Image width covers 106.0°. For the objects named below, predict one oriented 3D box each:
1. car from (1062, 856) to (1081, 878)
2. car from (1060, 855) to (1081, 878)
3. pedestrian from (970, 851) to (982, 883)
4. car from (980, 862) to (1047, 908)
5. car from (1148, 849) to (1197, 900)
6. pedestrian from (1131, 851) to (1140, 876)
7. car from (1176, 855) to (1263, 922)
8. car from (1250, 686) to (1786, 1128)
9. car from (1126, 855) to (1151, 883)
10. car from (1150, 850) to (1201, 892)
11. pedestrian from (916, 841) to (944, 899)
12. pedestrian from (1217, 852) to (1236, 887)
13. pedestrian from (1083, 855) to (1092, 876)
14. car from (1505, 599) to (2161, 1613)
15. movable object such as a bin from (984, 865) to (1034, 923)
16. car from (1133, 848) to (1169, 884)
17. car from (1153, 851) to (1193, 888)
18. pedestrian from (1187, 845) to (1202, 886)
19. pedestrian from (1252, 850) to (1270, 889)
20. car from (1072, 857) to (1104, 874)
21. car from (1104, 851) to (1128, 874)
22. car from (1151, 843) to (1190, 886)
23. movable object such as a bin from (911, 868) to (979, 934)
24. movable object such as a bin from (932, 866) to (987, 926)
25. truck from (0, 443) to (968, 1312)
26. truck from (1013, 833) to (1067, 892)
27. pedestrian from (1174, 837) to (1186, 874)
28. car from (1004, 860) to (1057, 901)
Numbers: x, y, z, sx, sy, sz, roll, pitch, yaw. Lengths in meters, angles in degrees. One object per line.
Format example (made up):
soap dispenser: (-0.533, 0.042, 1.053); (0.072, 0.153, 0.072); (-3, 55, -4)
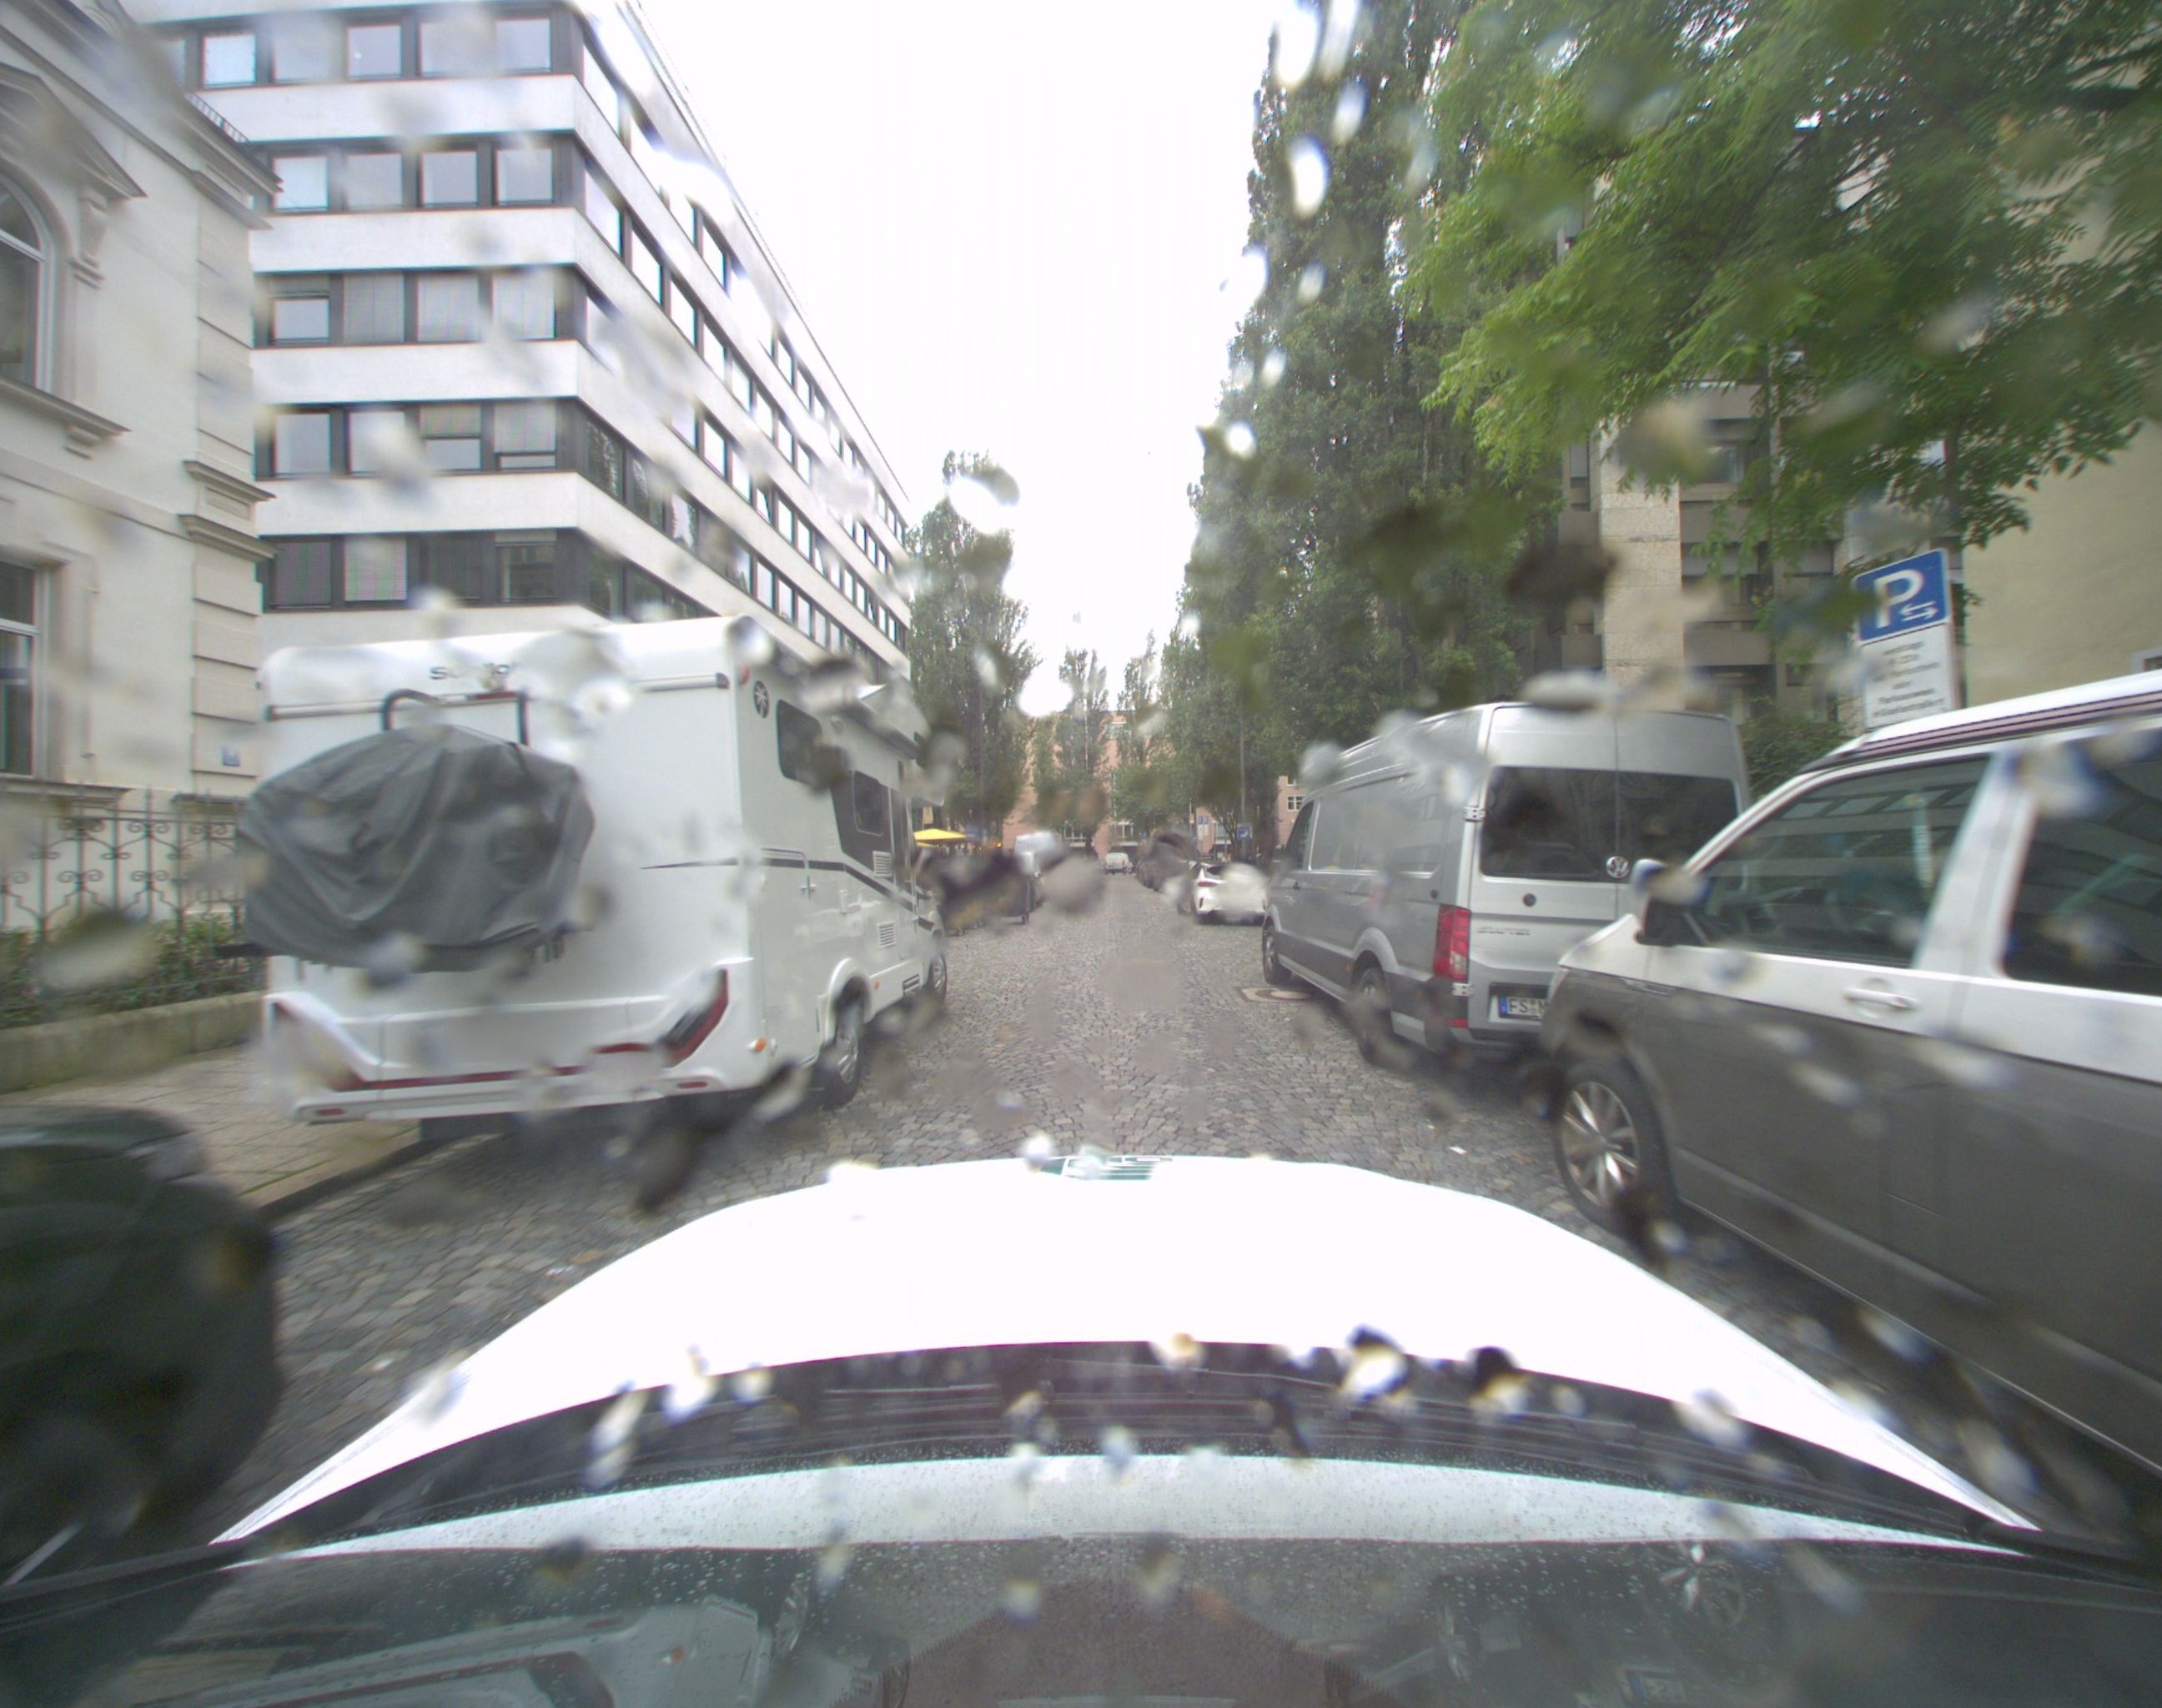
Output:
car: (-0.659, 0.944, 60.091); (1.272, 1.541, 3.120); (-1, -1, 2)
car: (-0.700, 0.853, 55.786); (1.285, 1.540, 3.120); (-1, -1, 2)
pedestrian: (-6.281, 0.759, 48.751); (0.600, 1.878, 0.548); (-1, -1, 1)
car: (-2.027, 0.917, 25.241); (1.656, 1.329, 3.549); (-1, -1, 2)
car: (3.197, 0.700, 28.899); (1.465, 1.706, 3.120); (-1, -1, 2)
pedestrian: (4.319, 0.747, 64.304); (0.722, 1.910, 0.641); (-1, -1, 3)
car: (3.311, 0.795, 20.051); (1.594, 1.486, 3.479); (-1, -1, 1)
car: (3.060, 0.290, 7.427); (1.888, 2.426, 5.612); (3, 0, 1)
car: (3.654, 0.931, 52.028); (1.465, 1.706, 3.120); (-1, -1, 2)
car: (3.803, 0.688, 33.277); (1.860, 1.604, 3.274); (-1, -1, 3)
pedestrian: (-5.318, 0.566, 28.794); (0.788, 2.014, 0.856); (-1, -1, 1)
pedestrian: (7.307, 0.773, 40.923); (0.789, 1.719, 0.854); (-1, -1, -4)
pedestrian: (0.504, 0.972, 65.997); (0.684, 1.687, 0.501); (-1, -1, 5)
car: (2.990, 0.502, 1.647); (1.794, 1.949, 4.861); (2, -1, 1)
movable object such as a bin: (-1.743, 0.946, 19.870); (1.060, 1.363, 1.290); (-1, -1, 1)
car: (3.960, 0.686, 46.463); (1.860, 1.961, 4.003); (-1, -1, 3)
car: (4.163, 0.706, 37.081); (1.628, 1.604, 3.274); (0, -1, 3)
pedestrian: (6.152, 0.625, 44.062); (0.708, 2.191, 0.814); (-1, -1, 3)
pedestrian: (8.395, 0.722, 38.001); (0.708, 1.804, 0.814); (-1, -1, 3)
car: (0.694, 1.110, 78.761); (3.097, 1.589, 1.476); (-1, -1, 1)
car: (3.010, 0.741, 70.214); (1.988, 1.936, 4.003); (-1, -1, 3)
car: (4.470, 0.523, 41.223); (1.736, 2.031, 3.868); (-1, -1, 3)
movable object such as a bin: (-2.892, 0.982, 17.412); (1.229, 1.363, 1.111); (-1, -1, 1)
movable object such as a bin: (-2.850, 0.968, 19.274); (1.069, 1.363, 1.273); (-1, -1, 0)
truck: (-2.662, 0.075, 6.151); (2.500, 3.031, 6.385); (-3, 0, 1)
truck: (-1.701, 0.375, 35.252); (1.986, 2.347, 4.069); (-1, -1, 2)
pedestrian: (6.539, 0.084, 54.070); (0.708, 2.426, 0.814); (-1, -1, 3)
car: (-1.852, 0.956, 30.643); (1.656, 1.455, 3.549); (-1, -1, 2)
